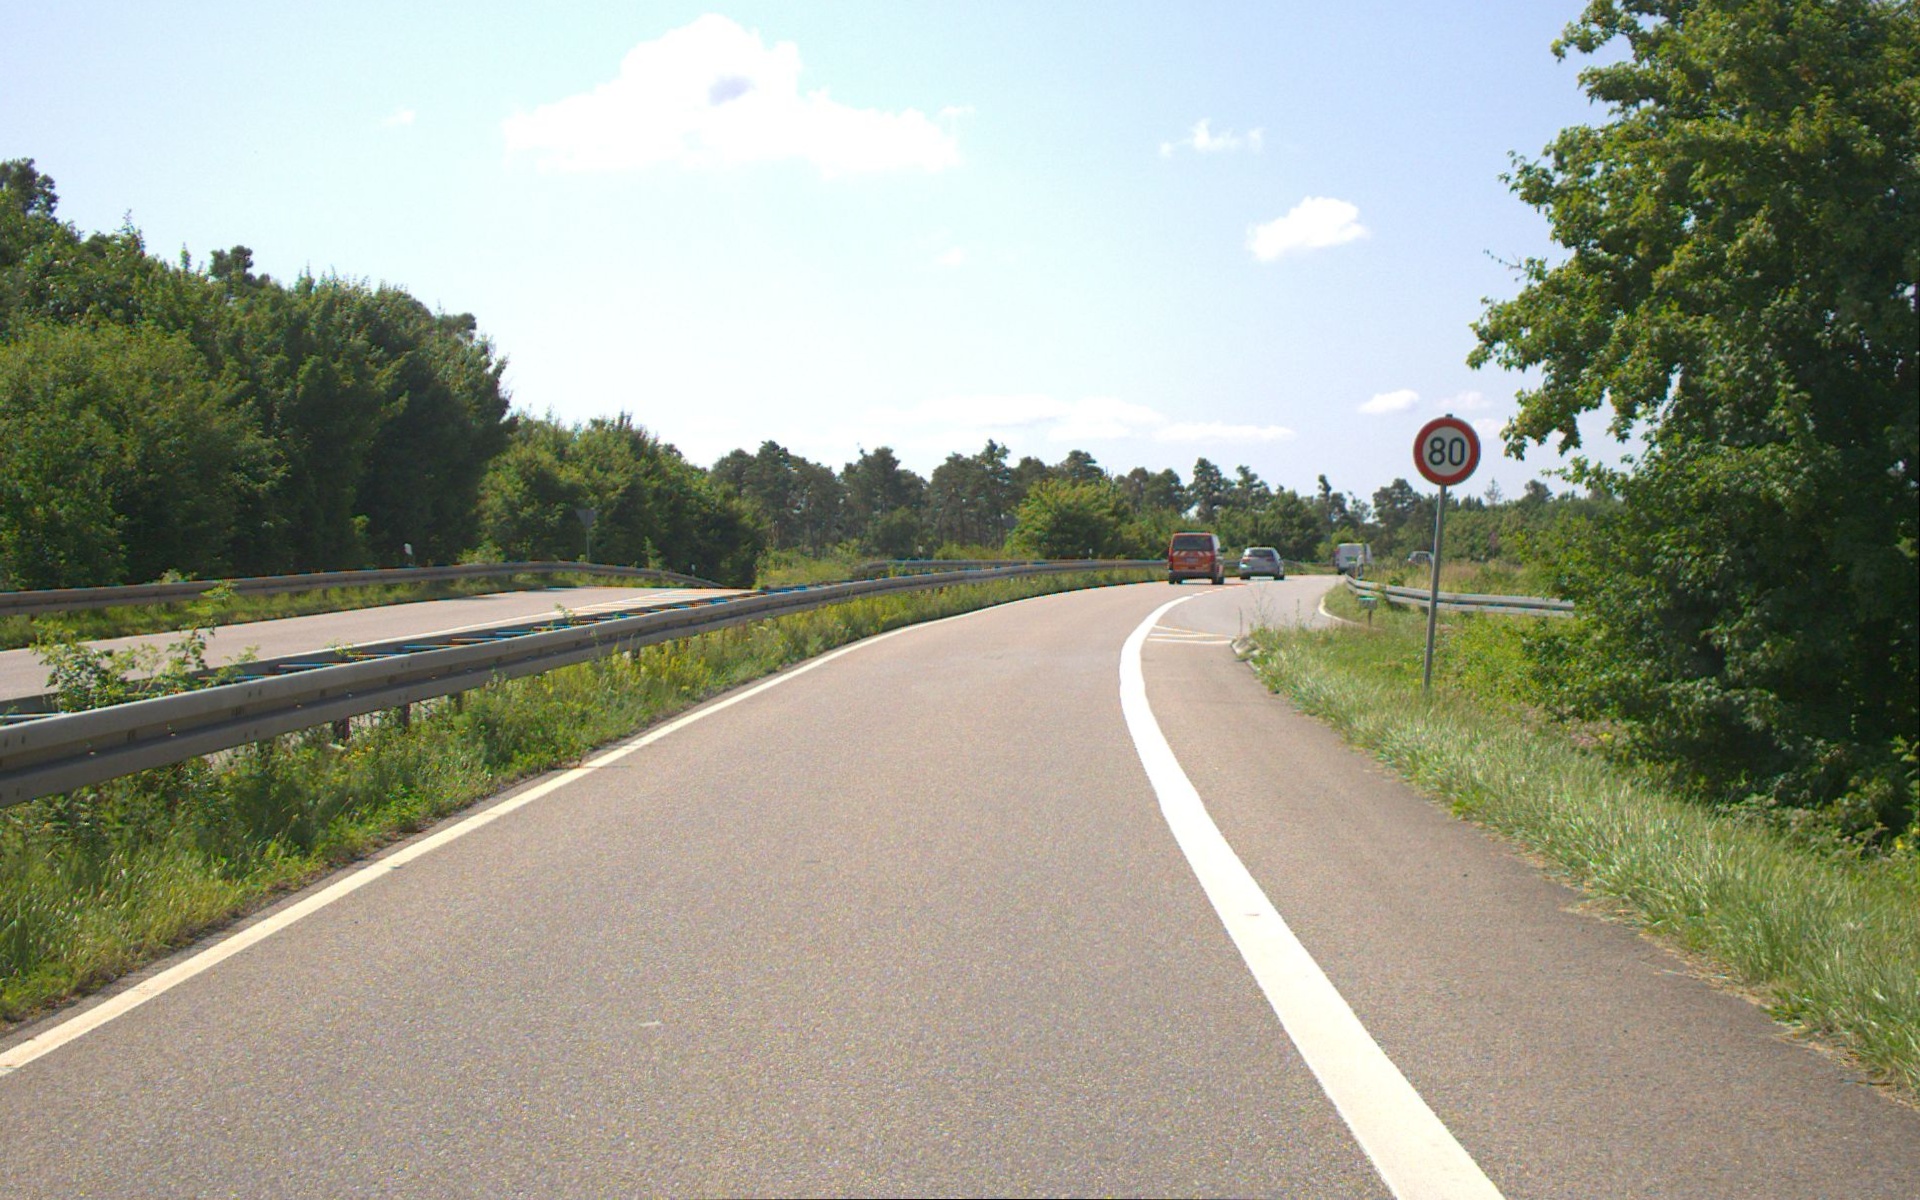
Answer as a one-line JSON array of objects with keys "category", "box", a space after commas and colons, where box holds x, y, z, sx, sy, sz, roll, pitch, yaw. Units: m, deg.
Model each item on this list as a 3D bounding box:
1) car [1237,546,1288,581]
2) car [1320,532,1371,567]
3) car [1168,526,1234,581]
[{"category": "car", "box": [13.655, -1.643, 154.915, 2.008, 1.489, 4.237, 1, 0, 9]}, {"category": "car", "box": [23.044, -2.994, 205.324, 2.186, 1.948, 5.800, 1, 0, 15]}, {"category": "car", "box": [9.262, -1.763, 131.909, 2.078, 1.986, 5.110, 1, 0, 9]}]
